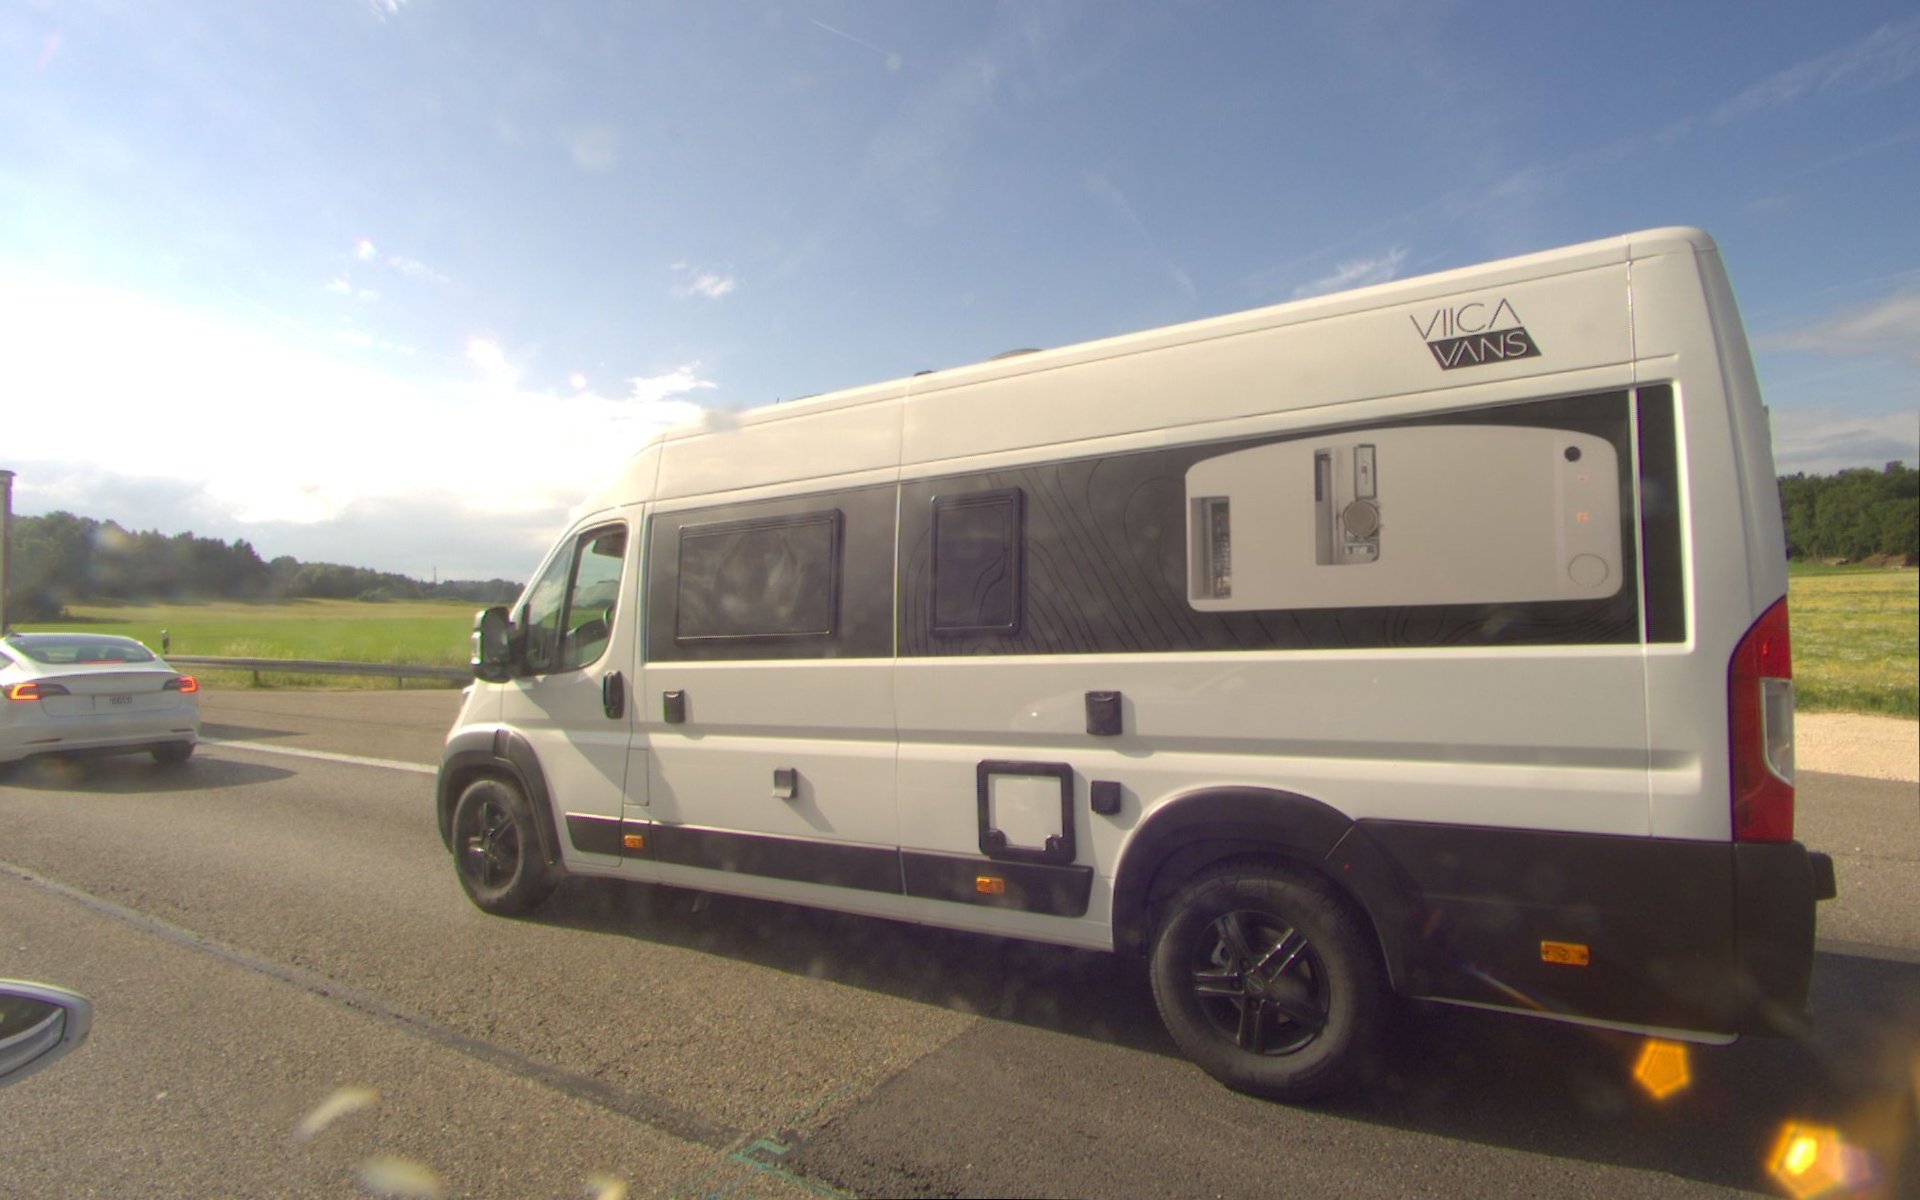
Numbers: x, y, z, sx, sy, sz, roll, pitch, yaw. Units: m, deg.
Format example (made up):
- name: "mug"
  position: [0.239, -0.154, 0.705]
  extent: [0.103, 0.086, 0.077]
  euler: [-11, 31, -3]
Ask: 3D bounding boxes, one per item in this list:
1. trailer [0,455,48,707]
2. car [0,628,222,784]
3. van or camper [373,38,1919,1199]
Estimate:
- name: "trailer"
  position: [-21.463, -0.118, 18.854]
  extent: [13.181, 4.061, 3.125]
  euler: [-2, -2, 33]
- name: "car"
  position: [-10.261, 1.030, 11.101]
  extent: [4.371, 1.412, 1.786]
  euler: [-1, -1, 30]
- name: "van or camper"
  position: [0.012, 0.207, 4.771]
  extent: [6.241, 2.716, 2.211]
  euler: [-1, -1, 32]
